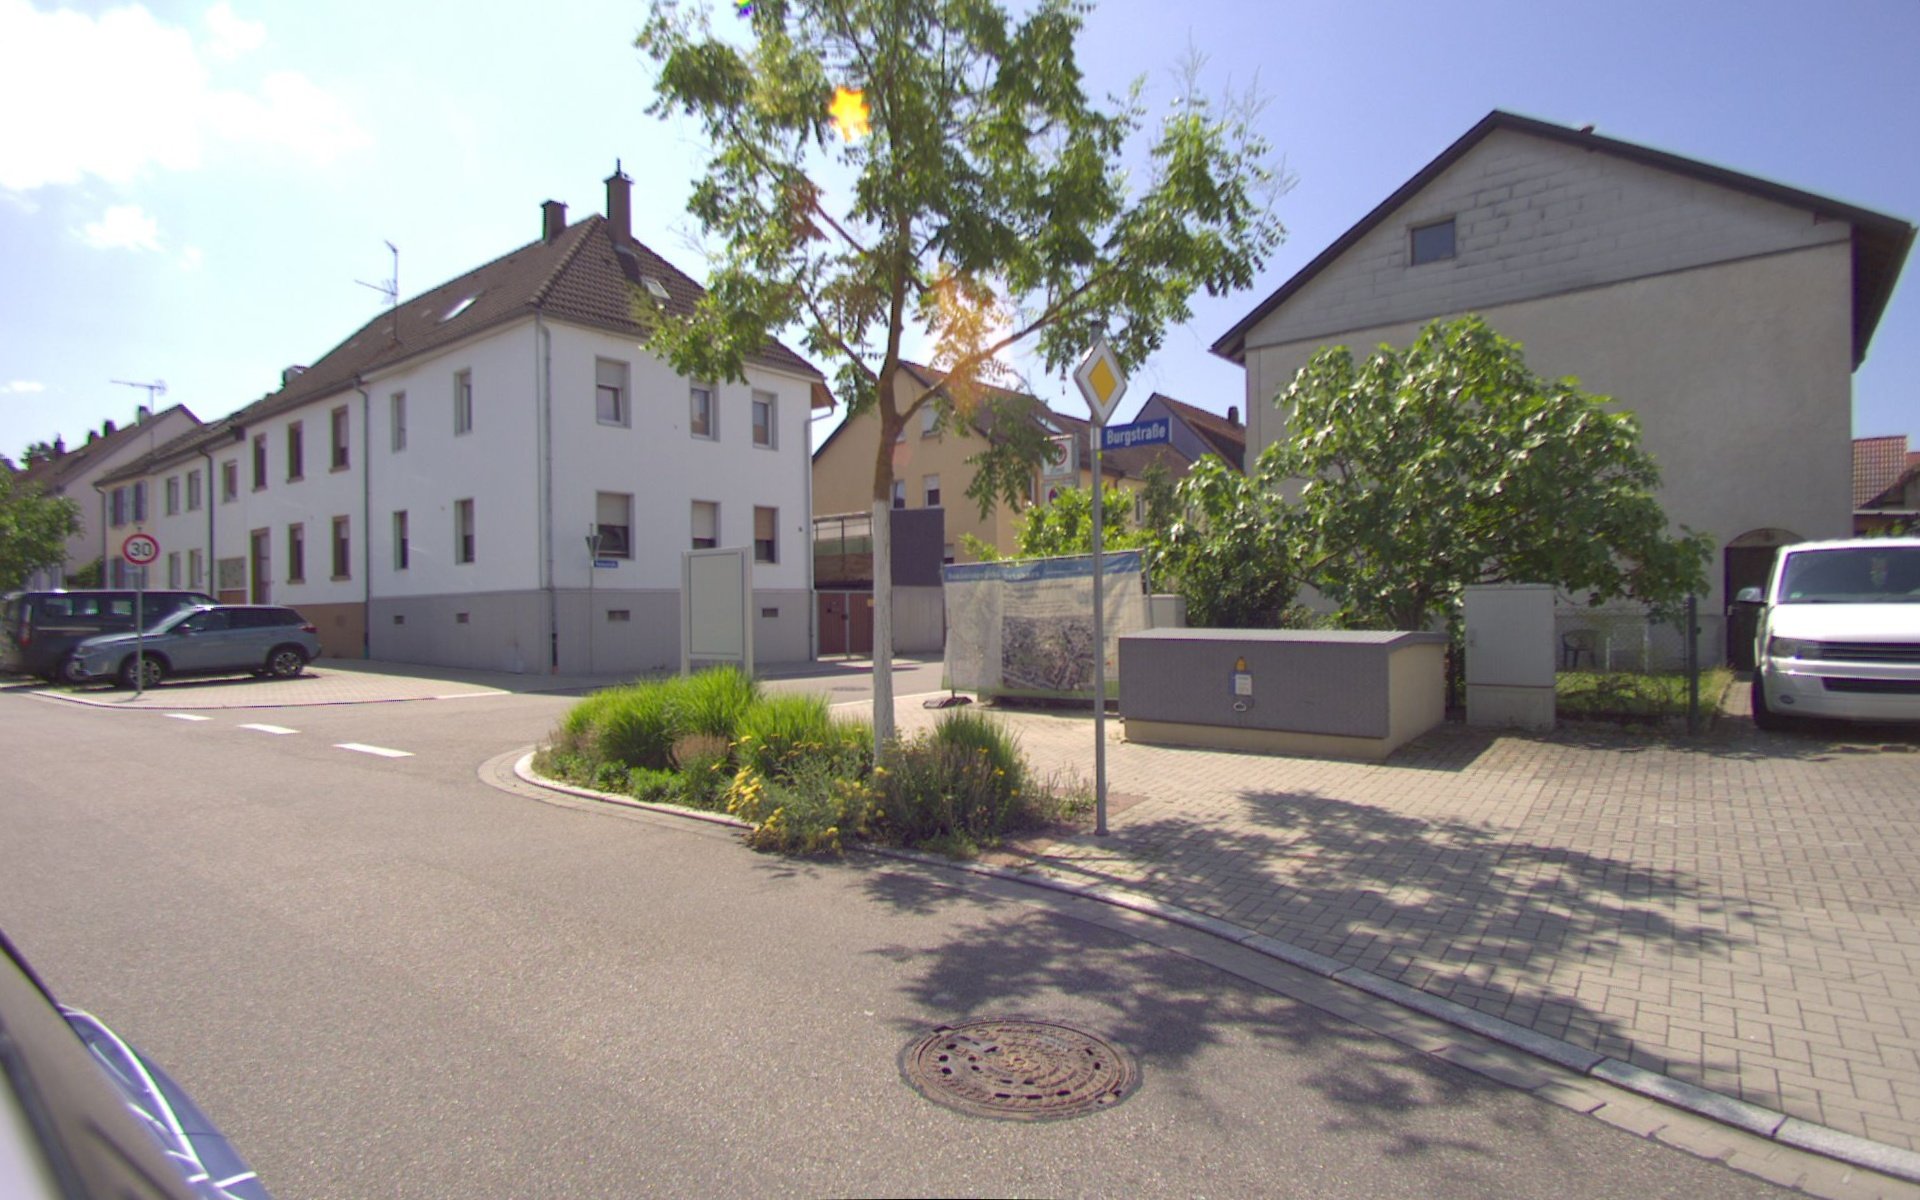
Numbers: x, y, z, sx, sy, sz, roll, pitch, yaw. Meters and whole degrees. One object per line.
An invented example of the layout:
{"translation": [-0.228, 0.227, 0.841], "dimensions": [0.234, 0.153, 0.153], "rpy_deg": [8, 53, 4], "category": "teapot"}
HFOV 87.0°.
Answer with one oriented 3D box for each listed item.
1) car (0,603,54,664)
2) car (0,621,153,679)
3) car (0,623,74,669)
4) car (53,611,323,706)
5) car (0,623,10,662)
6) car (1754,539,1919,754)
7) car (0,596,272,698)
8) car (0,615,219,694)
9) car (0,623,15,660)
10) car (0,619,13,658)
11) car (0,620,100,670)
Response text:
{"translation": [-35.880, 1.238, 36.534], "dimensions": [1.922, 2.193, 4.467], "rpy_deg": [-1, 0, 37], "category": "car"}
{"translation": [-25.891, 1.393, 28.836], "dimensions": [1.772, 1.479, 4.253], "rpy_deg": [0, 0, 39], "category": "car"}
{"translation": [-32.407, 1.559, 33.669], "dimensions": [1.746, 1.479, 4.045], "rpy_deg": [-1, 0, 29], "category": "car"}
{"translation": [-15.908, 1.110, 21.052], "dimensions": [1.769, 1.631, 4.137], "rpy_deg": [0, 1, 37], "category": "car"}
{"translation": [-37.994, 1.647, 37.398], "dimensions": [1.752, 1.470, 3.973], "rpy_deg": [-1, 0, 37], "category": "car"}
{"translation": [9.238, 0.349, 10.114], "dimensions": [1.997, 1.813, 3.949], "rpy_deg": [-2, 0, 38], "category": "car"}
{"translation": [-18.445, 0.939, 22.639], "dimensions": [1.934, 1.937, 4.657], "rpy_deg": [0, 1, 37], "category": "car"}
{"translation": [-20.626, 1.224, 24.365], "dimensions": [1.769, 1.580, 4.149], "rpy_deg": [0, 1, 33], "category": "car"}
{"translation": [-39.914, 1.690, 39.770], "dimensions": [1.751, 1.470, 3.759], "rpy_deg": [-1, 0, 34], "category": "car"}
{"translation": [-41.940, 1.653, 41.525], "dimensions": [1.839, 1.623, 4.215], "rpy_deg": [-1, 0, 36], "category": "car"}
{"translation": [-29.974, 1.416, 32.061], "dimensions": [1.652, 1.479, 3.854], "rpy_deg": [0, 0, 29], "category": "car"}
